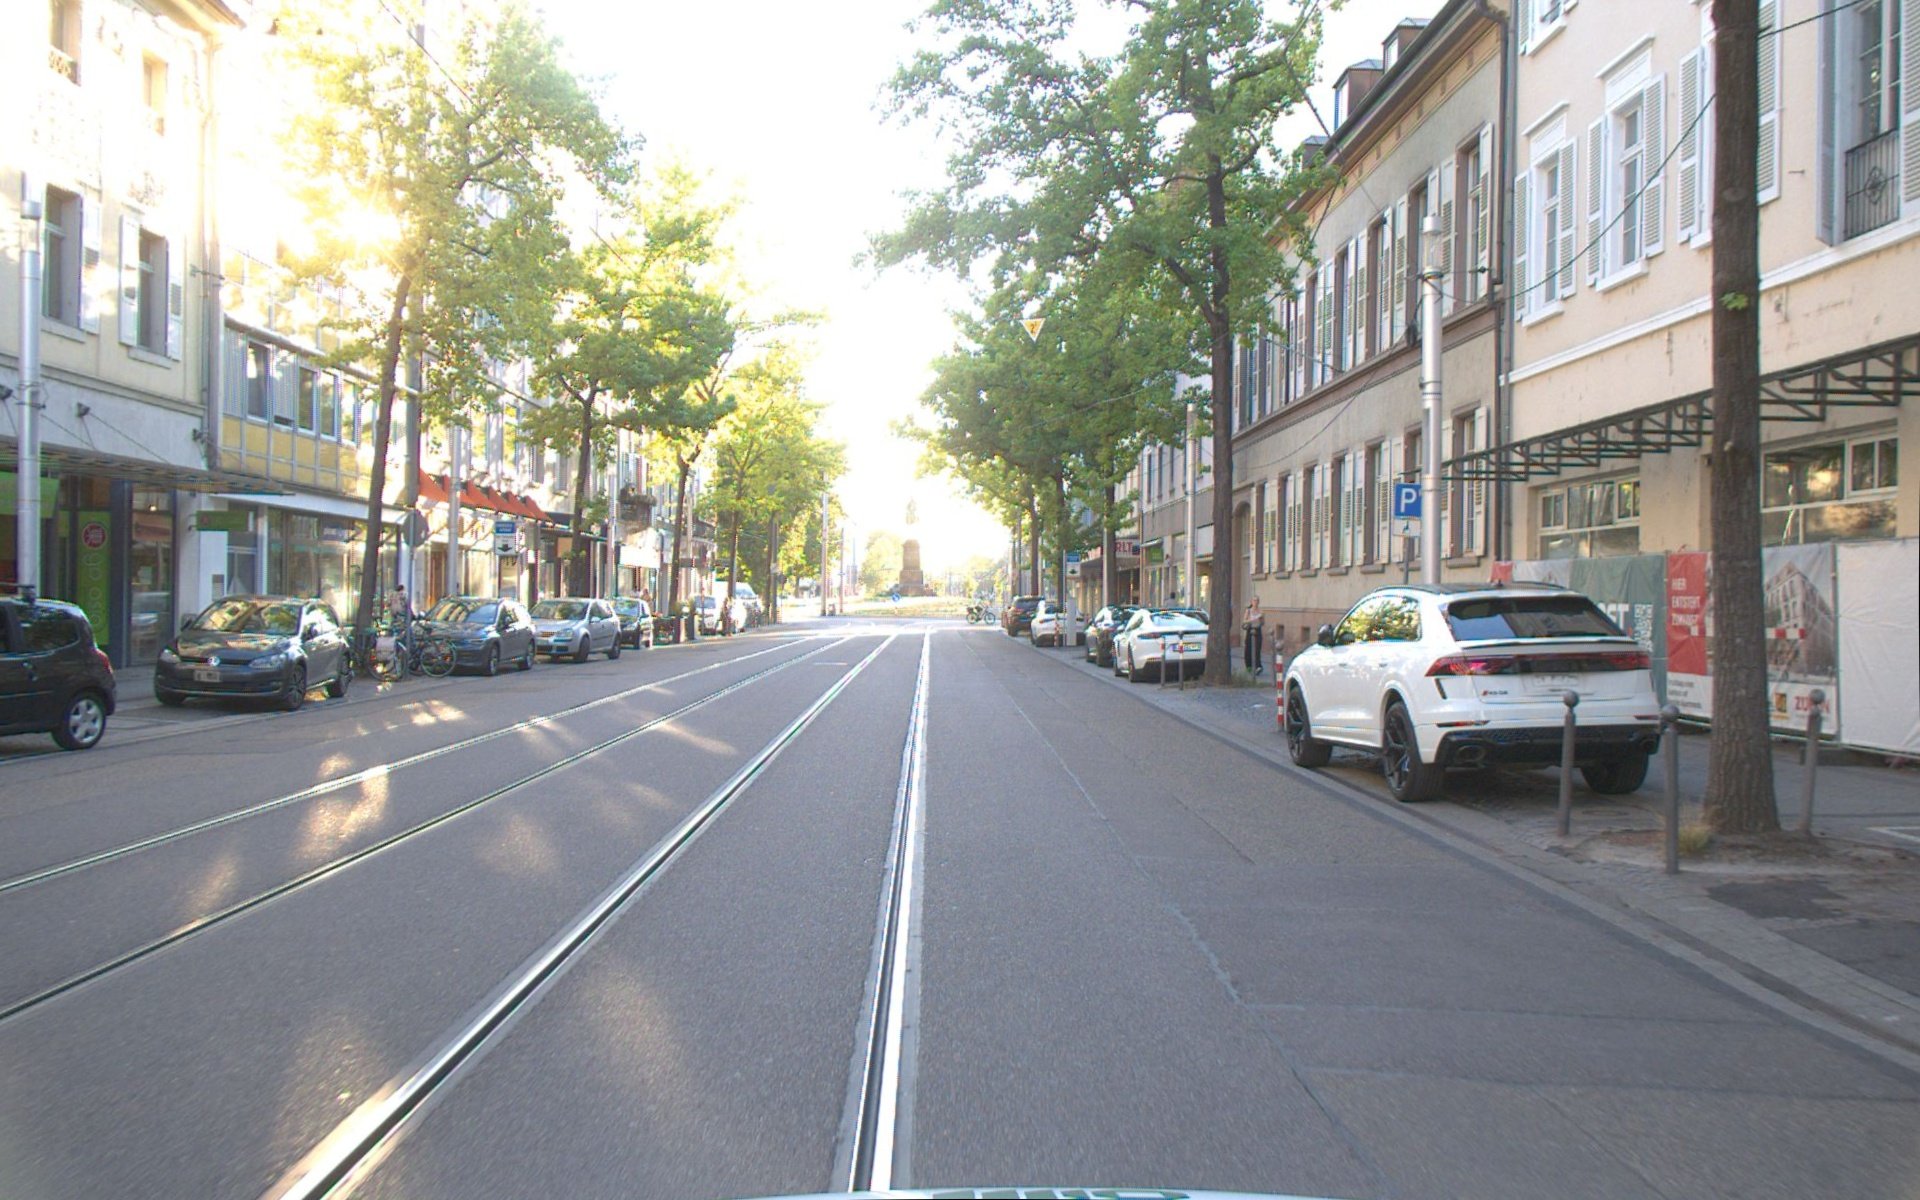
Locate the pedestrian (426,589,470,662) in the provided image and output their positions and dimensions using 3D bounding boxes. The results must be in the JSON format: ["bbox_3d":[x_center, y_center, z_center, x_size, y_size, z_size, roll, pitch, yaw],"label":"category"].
[{"bbox_3d":[-12.298,0.612,39.770,0.827,1.723,0.740,0,0,-2],"label":"pedestrian"}]

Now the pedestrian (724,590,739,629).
[{"bbox_3d":[-9.352,0.403,67.672,0.510,1.596,0.633,0,-1,-1],"label":"pedestrian"}]

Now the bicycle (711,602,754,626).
[{"bbox_3d":[-11.591,0.725,84.182,2.082,1.124,0.497,3,-1,-27],"label":"bicycle"}]

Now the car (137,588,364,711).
[{"bbox_3d":[-9.806,0.635,23.225,1.758,1.516,4.236,2,0,-7],"label":"car"}]

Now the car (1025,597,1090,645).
[{"bbox_3d":[3.435,0.719,59.148,1.953,1.524,4.679,-3,0,0],"label":"car"}]

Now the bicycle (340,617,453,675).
[{"bbox_3d":[-10.264,0.833,30.128,1.930,1.019,0.330,1,0,1],"label":"bicycle"}]

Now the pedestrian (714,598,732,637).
[{"bbox_3d":[-9.580,0.713,66.868,0.607,1.536,0.729,0,-1,-1],"label":"pedestrian"}]

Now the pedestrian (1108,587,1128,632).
[{"bbox_3d":[6.068,0.354,63.509,0.630,1.699,0.786,-3,0,-1],"label":"pedestrian"}]

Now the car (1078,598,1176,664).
[{"bbox_3d":[4.129,0.735,41.625,1.796,1.504,4.760,-2,0,-2],"label":"car"}]

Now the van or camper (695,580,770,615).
[{"bbox_3d":[-16.888,-0.221,122.535,2.593,2.516,6.224,0,0,-41],"label":"van or camper"}]

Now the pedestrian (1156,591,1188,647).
[{"bbox_3d":[7.036,0.627,54.919,0.841,1.783,0.932,-3,0,-1],"label":"pedestrian"}]

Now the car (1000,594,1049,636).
[{"bbox_3d":[2.958,0.659,76.306,1.899,1.790,4.678,-3,0,-1],"label":"car"}]

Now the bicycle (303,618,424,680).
[{"bbox_3d":[-10.109,0.822,28.052,1.930,1.019,0.330,1,0,1],"label":"bicycle"}]

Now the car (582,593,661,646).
[{"bbox_3d":[-10.250,0.577,50.292,1.632,1.453,3.826,3,0,-2],"label":"car"}]

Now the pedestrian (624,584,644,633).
[{"bbox_3d":[-13.841,0.358,70.227,0.707,2.049,0.642,1,0,-1],"label":"pedestrian"}]

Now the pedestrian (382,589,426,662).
[{"bbox_3d":[-13.298,0.598,39.577,0.773,1.723,0.913,0,0,-2],"label":"pedestrian"}]

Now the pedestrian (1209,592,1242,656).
[{"bbox_3d":[7.125,0.638,44.414,0.644,1.694,0.888,-2,0,-2],"label":"pedestrian"}]

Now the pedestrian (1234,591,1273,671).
[{"bbox_3d":[6.007,0.626,33.922,0.636,1.601,0.798,1,0,-1],"label":"pedestrian"}]

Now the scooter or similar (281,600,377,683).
[{"bbox_3d":[-10.347,0.681,27.141,1.390,1.293,0.375,2,0,3],"label":"scooter or similar"}]

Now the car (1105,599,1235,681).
[{"bbox_3d":[4.103,0.739,33.068,1.873,1.445,4.887,-2,0,-1],"label":"car"}]

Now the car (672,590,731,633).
[{"bbox_3d":[-10.893,0.475,69.974,1.799,1.607,4.116,4,0,-1],"label":"car"}]

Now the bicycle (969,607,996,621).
[{"bbox_3d":[1.444,0.885,106.495,1.696,0.880,0.367,0,0,-2],"label":"bicycle"}]

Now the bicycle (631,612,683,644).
[{"bbox_3d":[-9.997,0.909,54.540,1.582,0.982,0.433,2,0,4],"label":"bicycle"}]

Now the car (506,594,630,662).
[{"bbox_3d":[-9.343,0.646,39.768,1.730,1.523,4.176,1,0,4],"label":"car"}]

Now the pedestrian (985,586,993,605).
[{"bbox_3d":[2.532,-0.395,142.203,0.623,1.634,0.771,0,0,-4],"label":"pedestrian"}]

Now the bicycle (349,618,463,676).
[{"bbox_3d":[-9.962,0.837,29.748,1.930,1.019,0.330,1,0,1],"label":"bicycle"}]

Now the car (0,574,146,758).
[{"bbox_3d":[-9.477,0.583,15.134,1.595,1.644,3.711,2,0,14],"label":"car"}]

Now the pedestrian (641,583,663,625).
[{"bbox_3d":[-13.074,0.163,70.239,0.707,1.791,1.090,1,0,-1],"label":"pedestrian"}]

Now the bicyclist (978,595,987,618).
[{"bbox_3d":[1.453,0.425,106.506,0.525,1.463,0.367,0,0,-2],"label":"bicyclist"}]

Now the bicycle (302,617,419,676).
[{"bbox_3d":[-10.608,0.815,29.292,1.929,1.019,0.419,1,0,3],"label":"bicycle"}]

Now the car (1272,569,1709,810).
[{"bbox_3d":[4.398,0.677,14.709,1.958,1.717,4.963,-2,0,-4],"label":"car"}]

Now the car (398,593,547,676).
[{"bbox_3d":[-9.669,0.650,33.143,1.677,1.486,4.485,2,0,-1],"label":"car"}]

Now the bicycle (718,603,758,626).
[{"bbox_3d":[-11.654,0.754,86.872,1.982,1.124,0.501,2,-1,1],"label":"bicycle"}]

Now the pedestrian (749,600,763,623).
[{"bbox_3d":[-11.493,0.644,93.170,0.713,1.313,0.856,1,0,-4],"label":"pedestrian"}]
